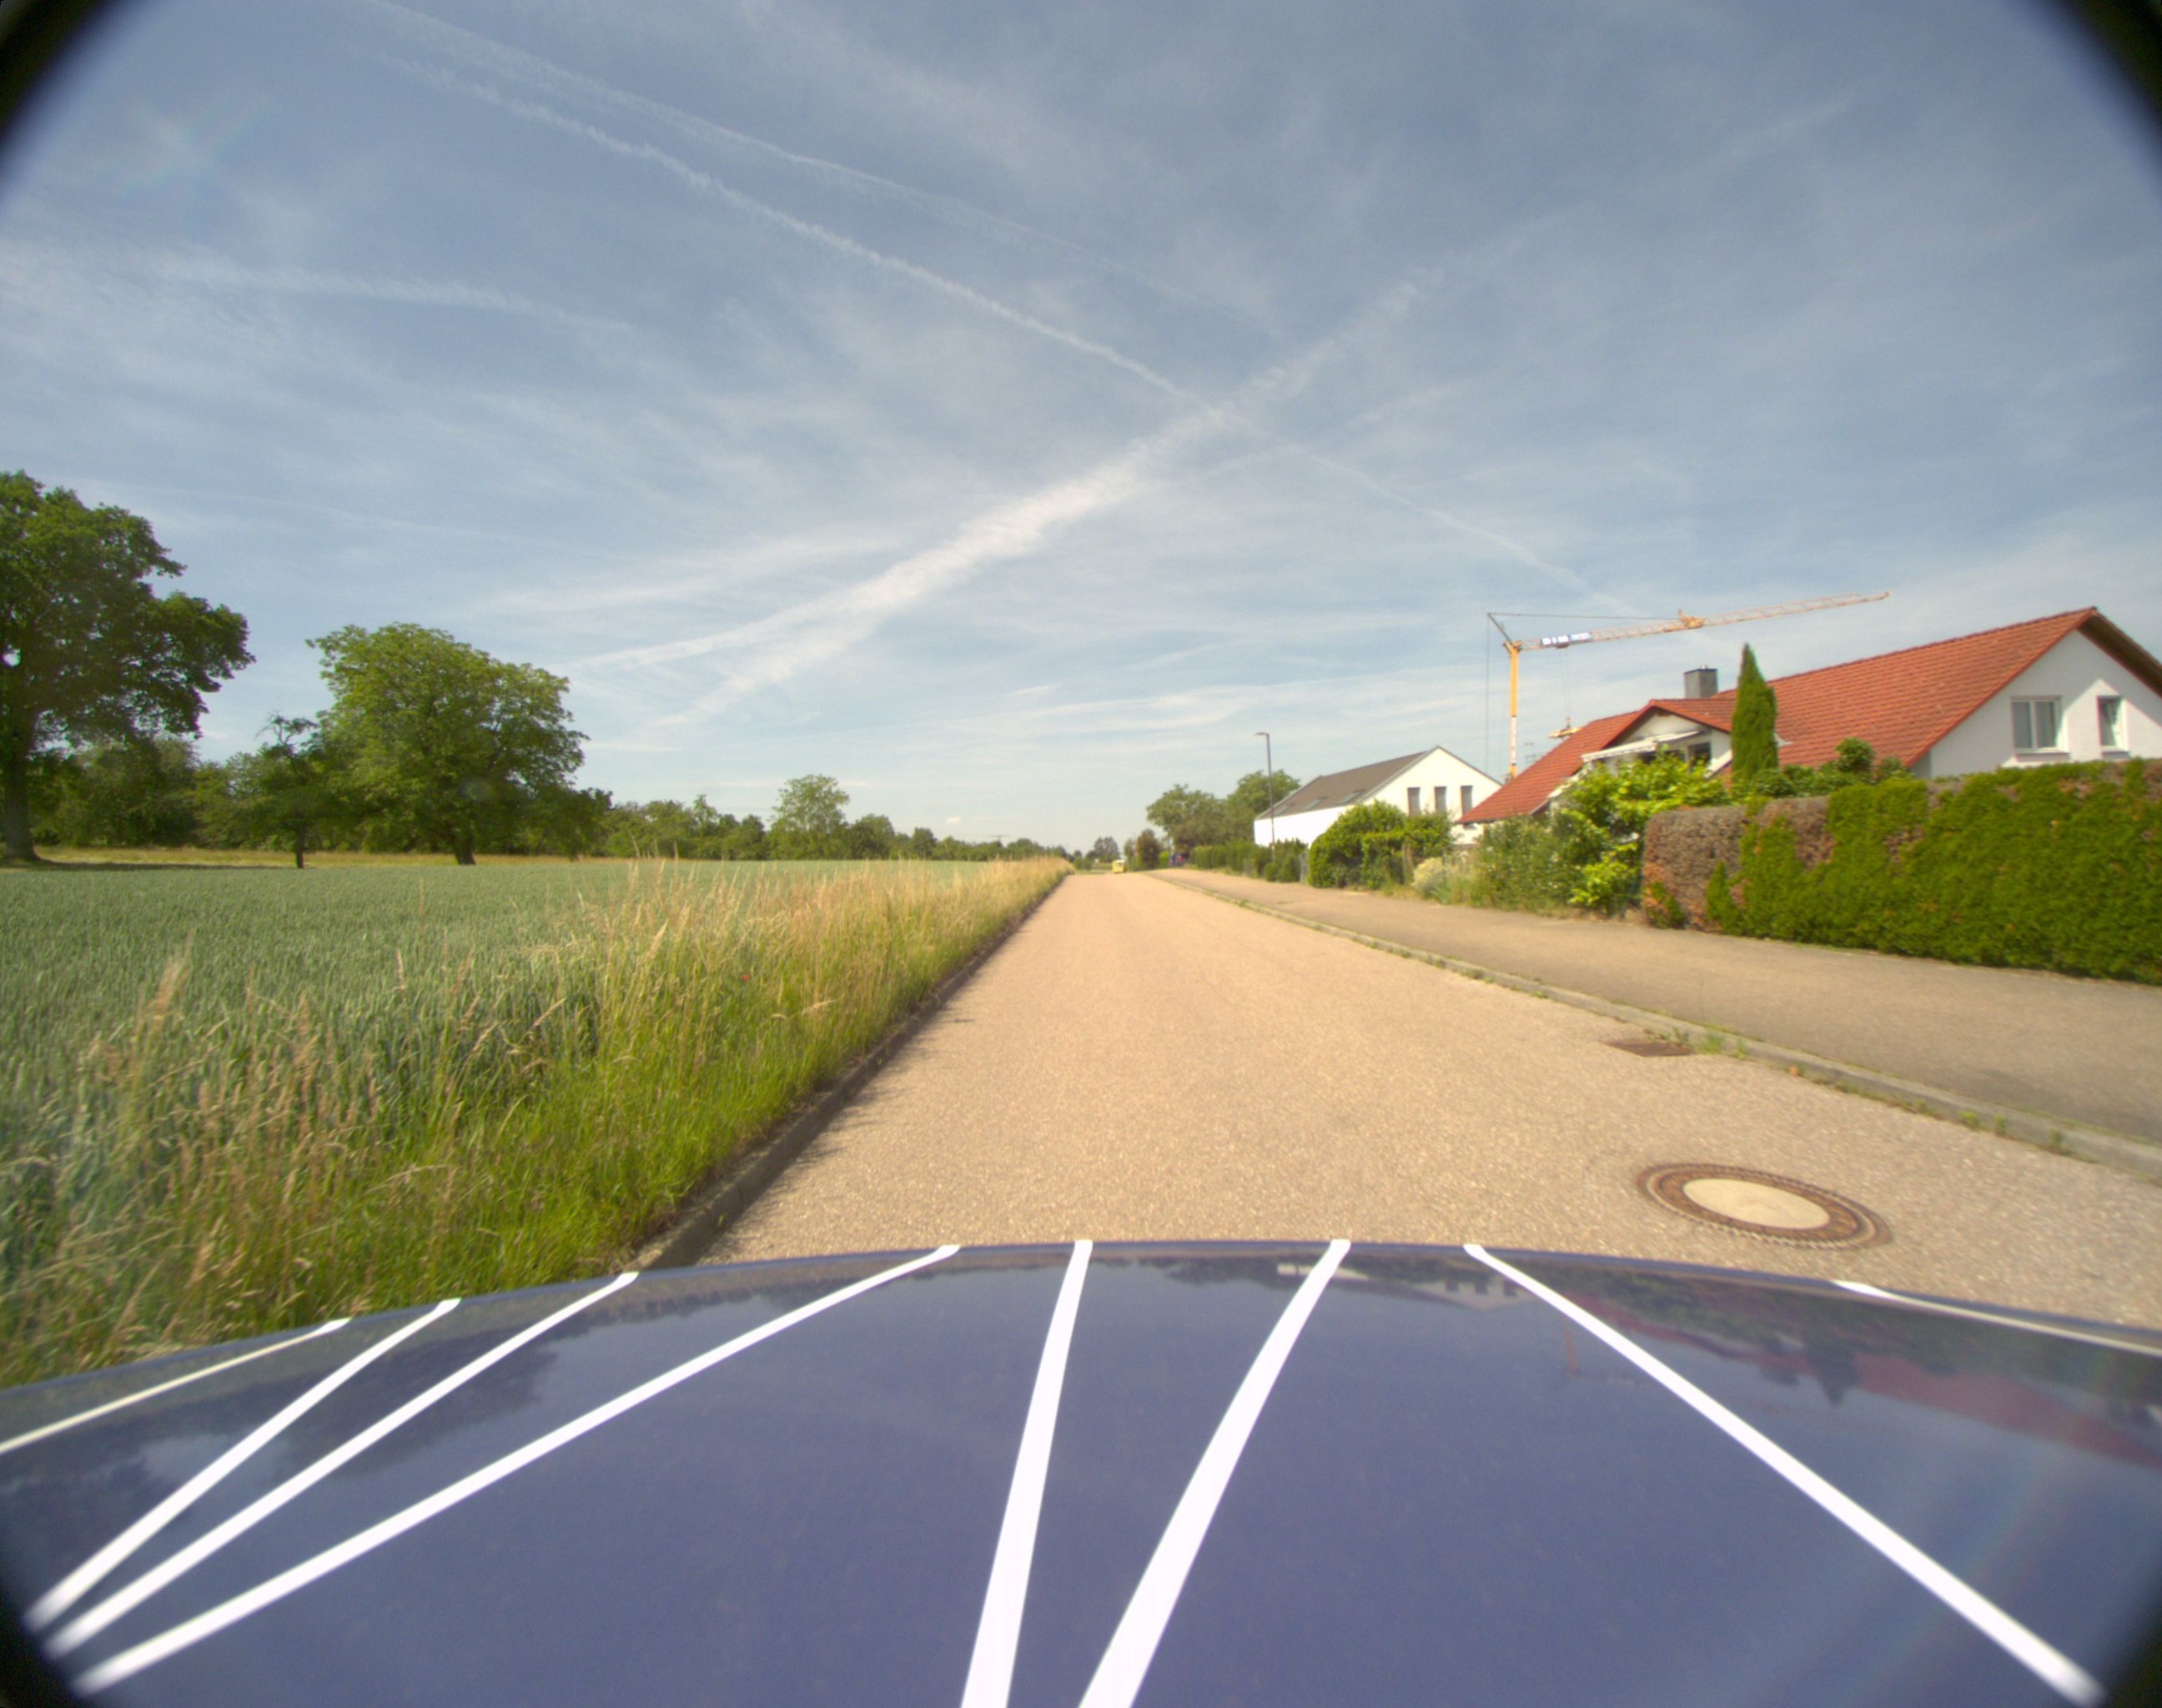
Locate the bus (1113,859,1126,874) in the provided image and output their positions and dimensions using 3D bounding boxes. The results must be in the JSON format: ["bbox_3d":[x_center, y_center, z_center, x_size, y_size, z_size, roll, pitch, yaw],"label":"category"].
[{"bbox_3d":[9.641,3.043,189.628,3.066,3.557,9.456,-2,1,3],"label":"bus"}]

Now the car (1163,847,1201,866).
[{"bbox_3d":[10.835,0.271,81.712,3.885,1.802,1.801,-3,0,5],"label":"car"}]

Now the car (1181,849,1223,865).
[{"bbox_3d":[11.654,0.256,73.282,3.885,1.314,1.801,-3,0,5],"label":"car"}]
